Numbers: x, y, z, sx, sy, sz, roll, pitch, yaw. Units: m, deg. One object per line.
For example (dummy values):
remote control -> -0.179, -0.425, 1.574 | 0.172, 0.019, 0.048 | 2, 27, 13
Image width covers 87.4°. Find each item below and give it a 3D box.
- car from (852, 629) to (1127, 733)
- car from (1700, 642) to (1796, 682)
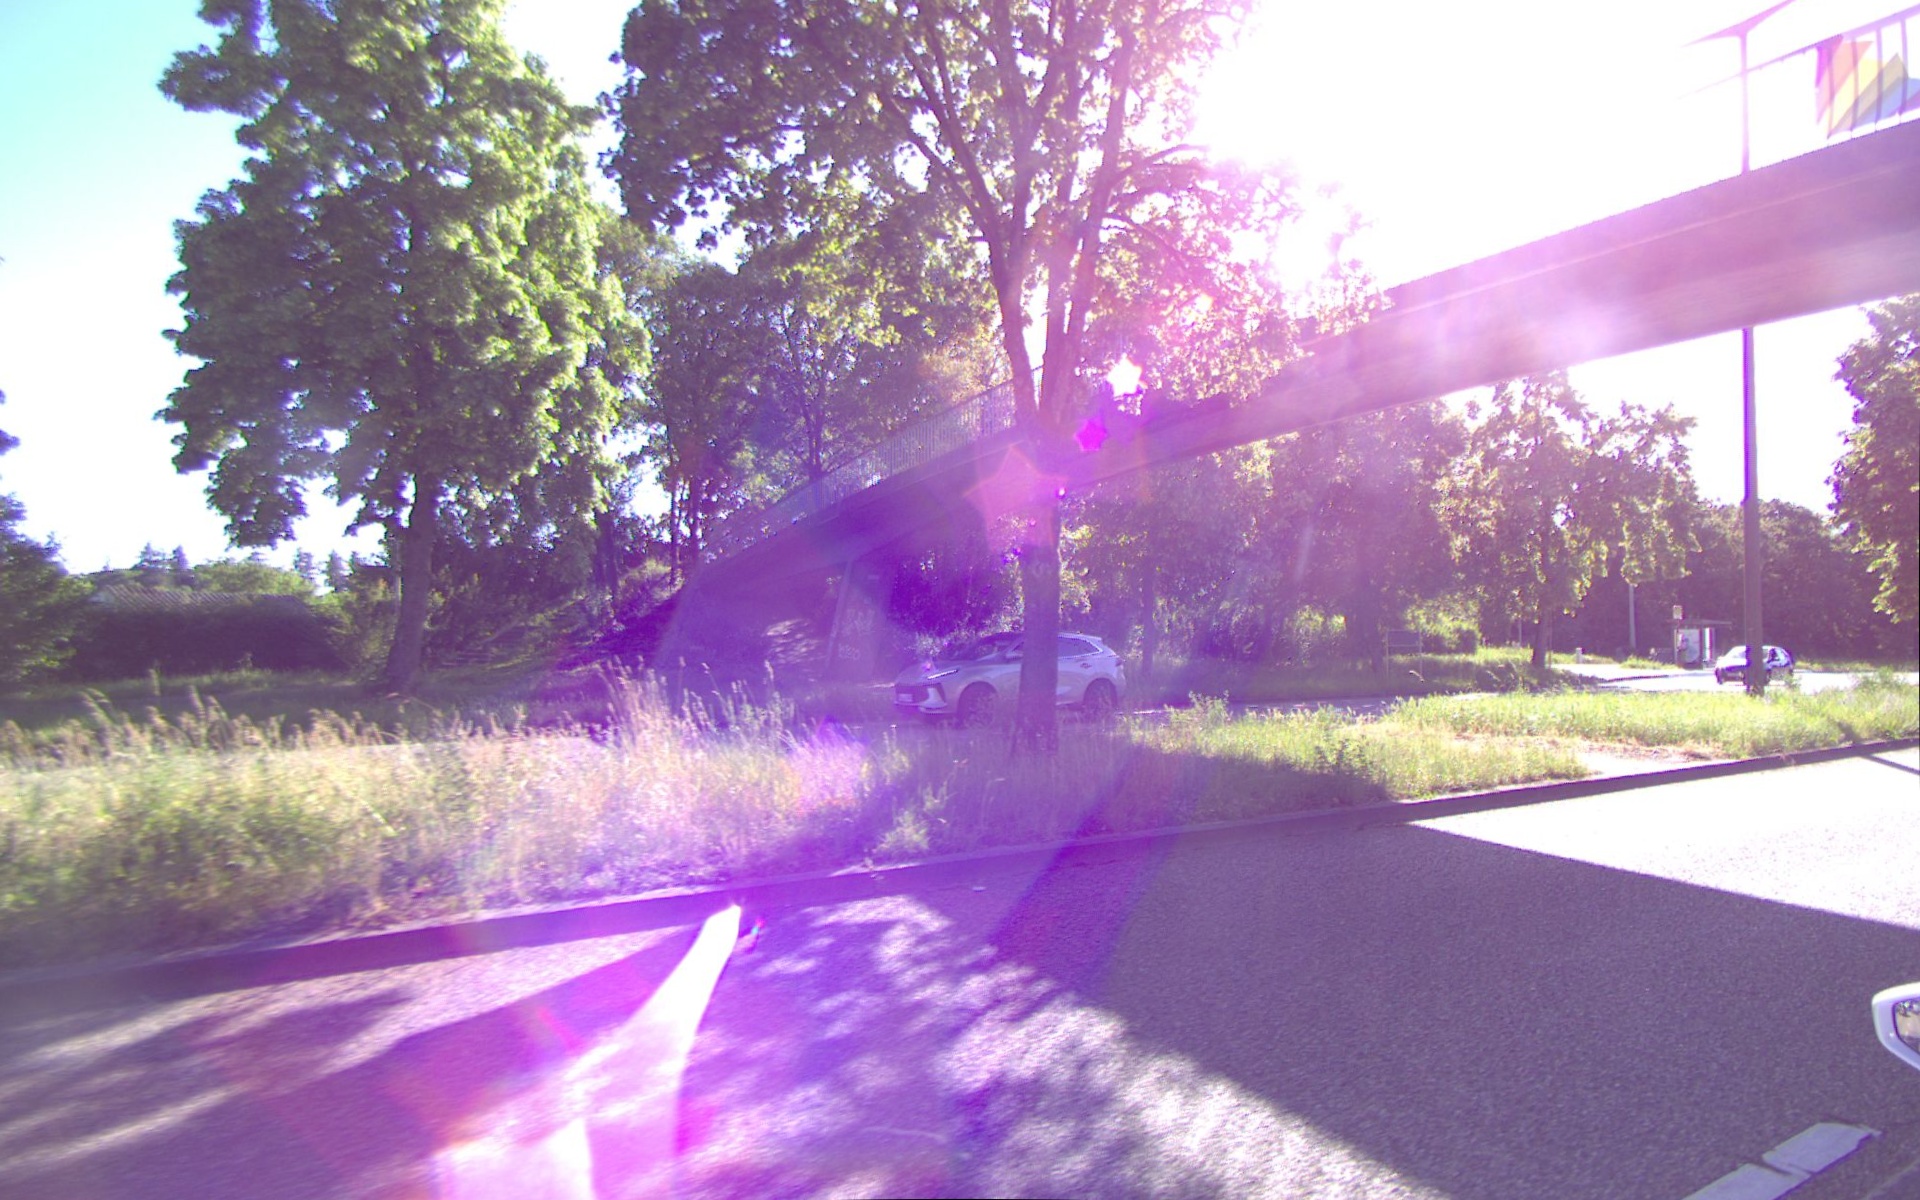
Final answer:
car -> 0.603, 1.410, 18.186 | 4.845, 1.667, 1.723 | 2, -4, -32
car -> 30.105, 2.331, 38.356 | 4.209, 1.449, 1.532 | 2, -3, -32
